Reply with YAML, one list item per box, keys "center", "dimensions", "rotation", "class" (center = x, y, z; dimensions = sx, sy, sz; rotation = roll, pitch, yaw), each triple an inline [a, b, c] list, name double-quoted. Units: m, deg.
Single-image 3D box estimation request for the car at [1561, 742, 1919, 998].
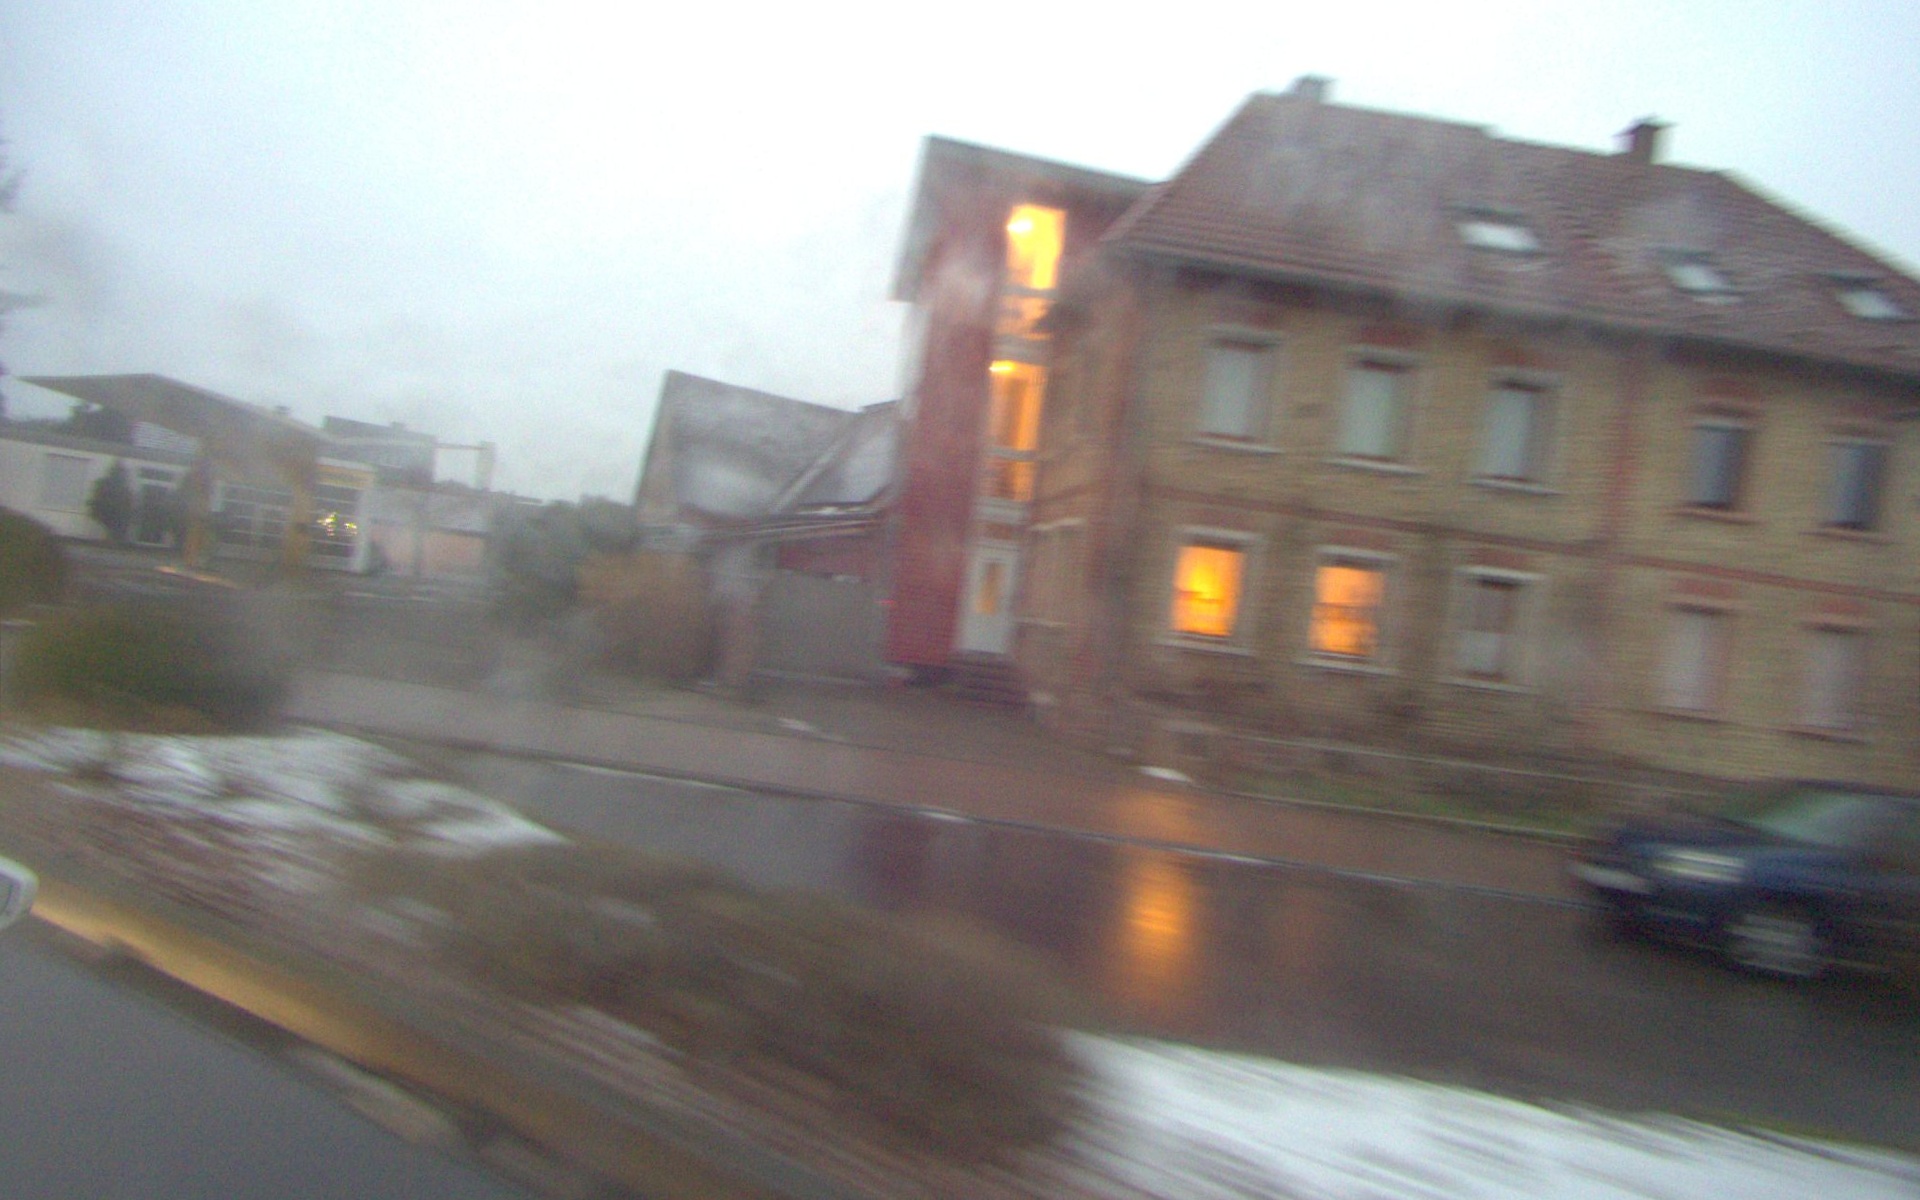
- center: [6.786, 2.100, 7.670]
  dimensions: [3.515, 1.400, 1.286]
  rotation: [8, -1, -1]
  class: "car"
